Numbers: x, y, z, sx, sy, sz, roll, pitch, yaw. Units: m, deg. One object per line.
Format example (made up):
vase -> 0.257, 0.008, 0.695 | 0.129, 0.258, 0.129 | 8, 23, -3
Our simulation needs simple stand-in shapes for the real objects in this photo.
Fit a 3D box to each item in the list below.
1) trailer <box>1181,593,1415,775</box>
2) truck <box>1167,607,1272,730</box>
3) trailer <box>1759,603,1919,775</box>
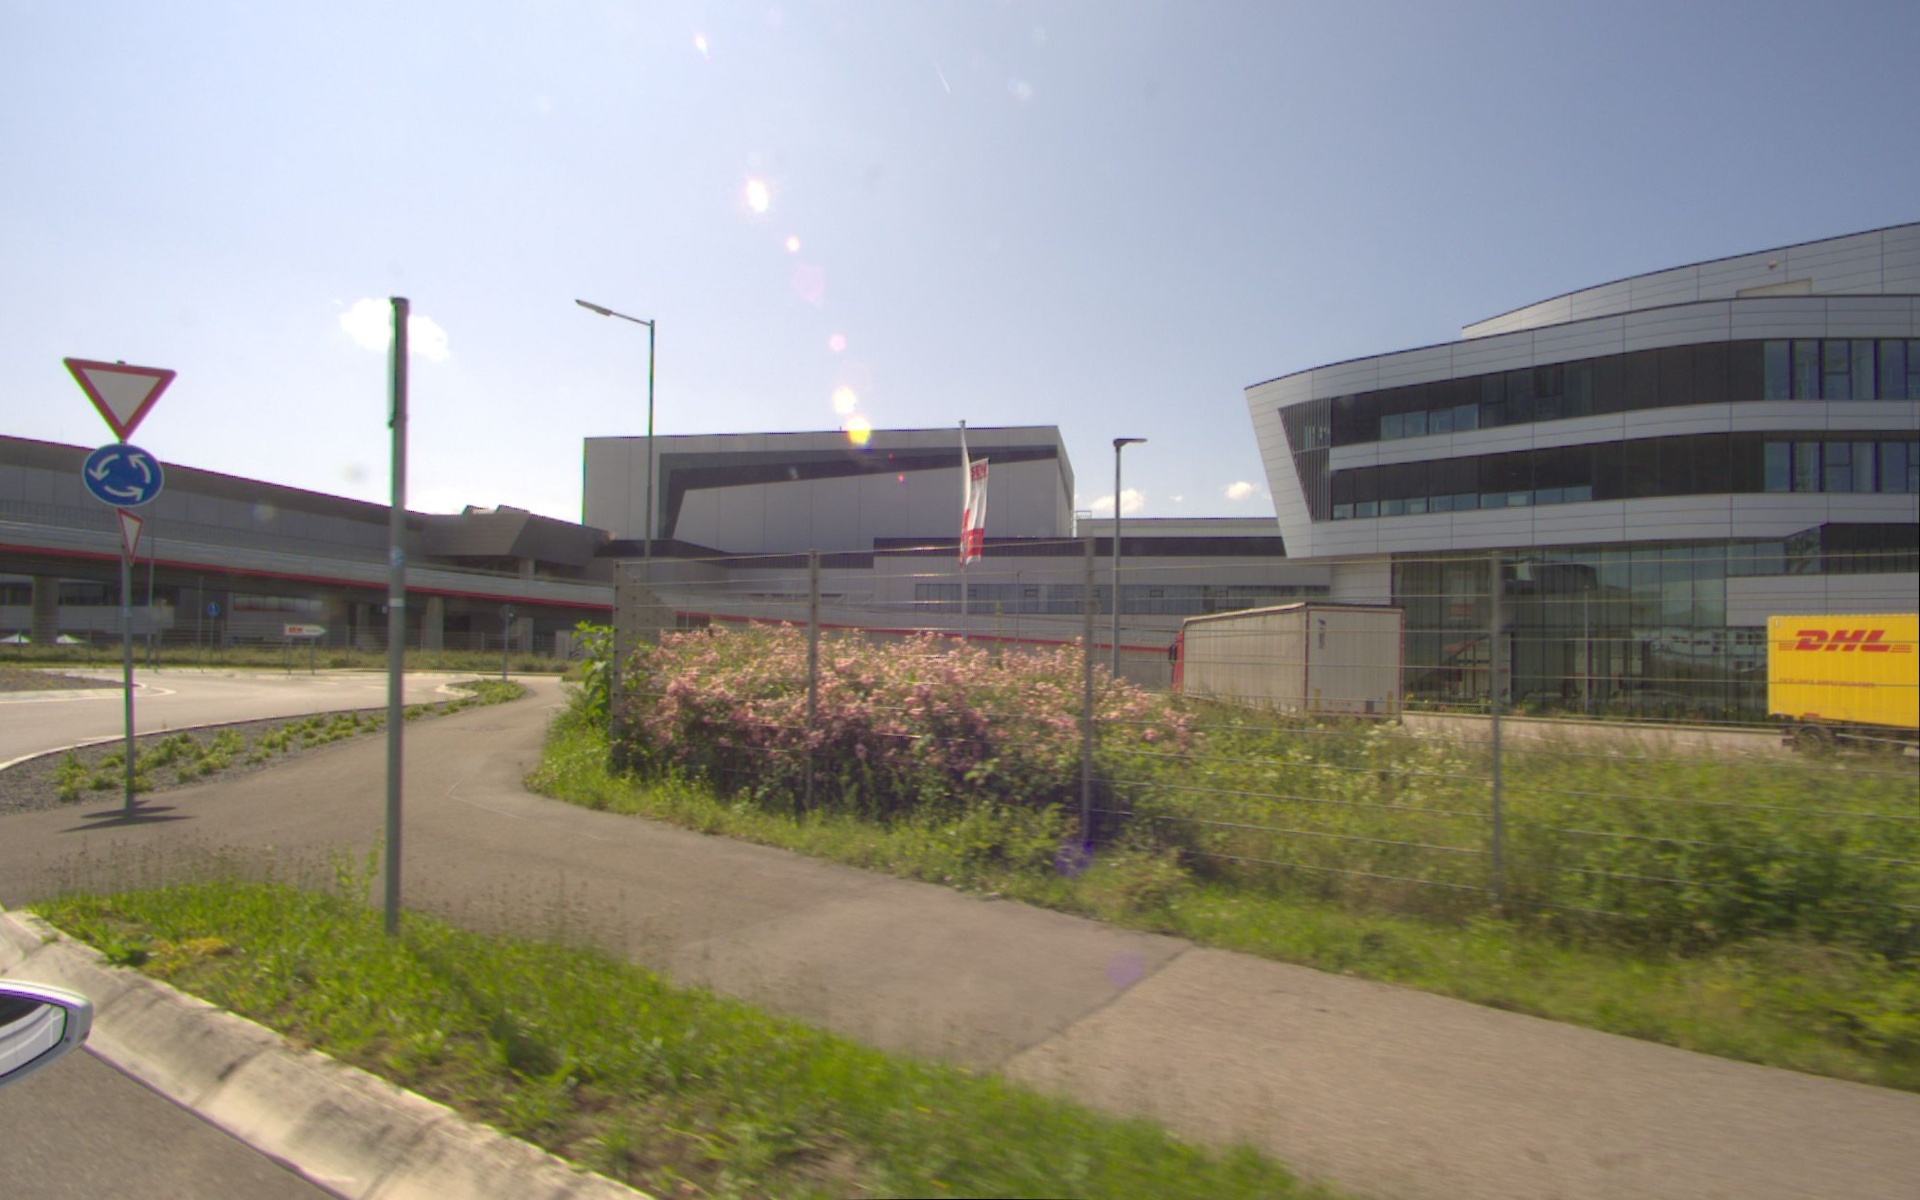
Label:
trailer -> 9.935, 2.325, 31.887 | 2.712, 4.494, 14.070 | 0, -2, 0
truck -> 9.946, 2.569, 38.933 | 2.712, 4.479, 5.293 | 0, -2, 0
trailer -> 25.706, 2.261, 25.841 | 2.845, 4.350, 8.719 | 0, -2, -3
